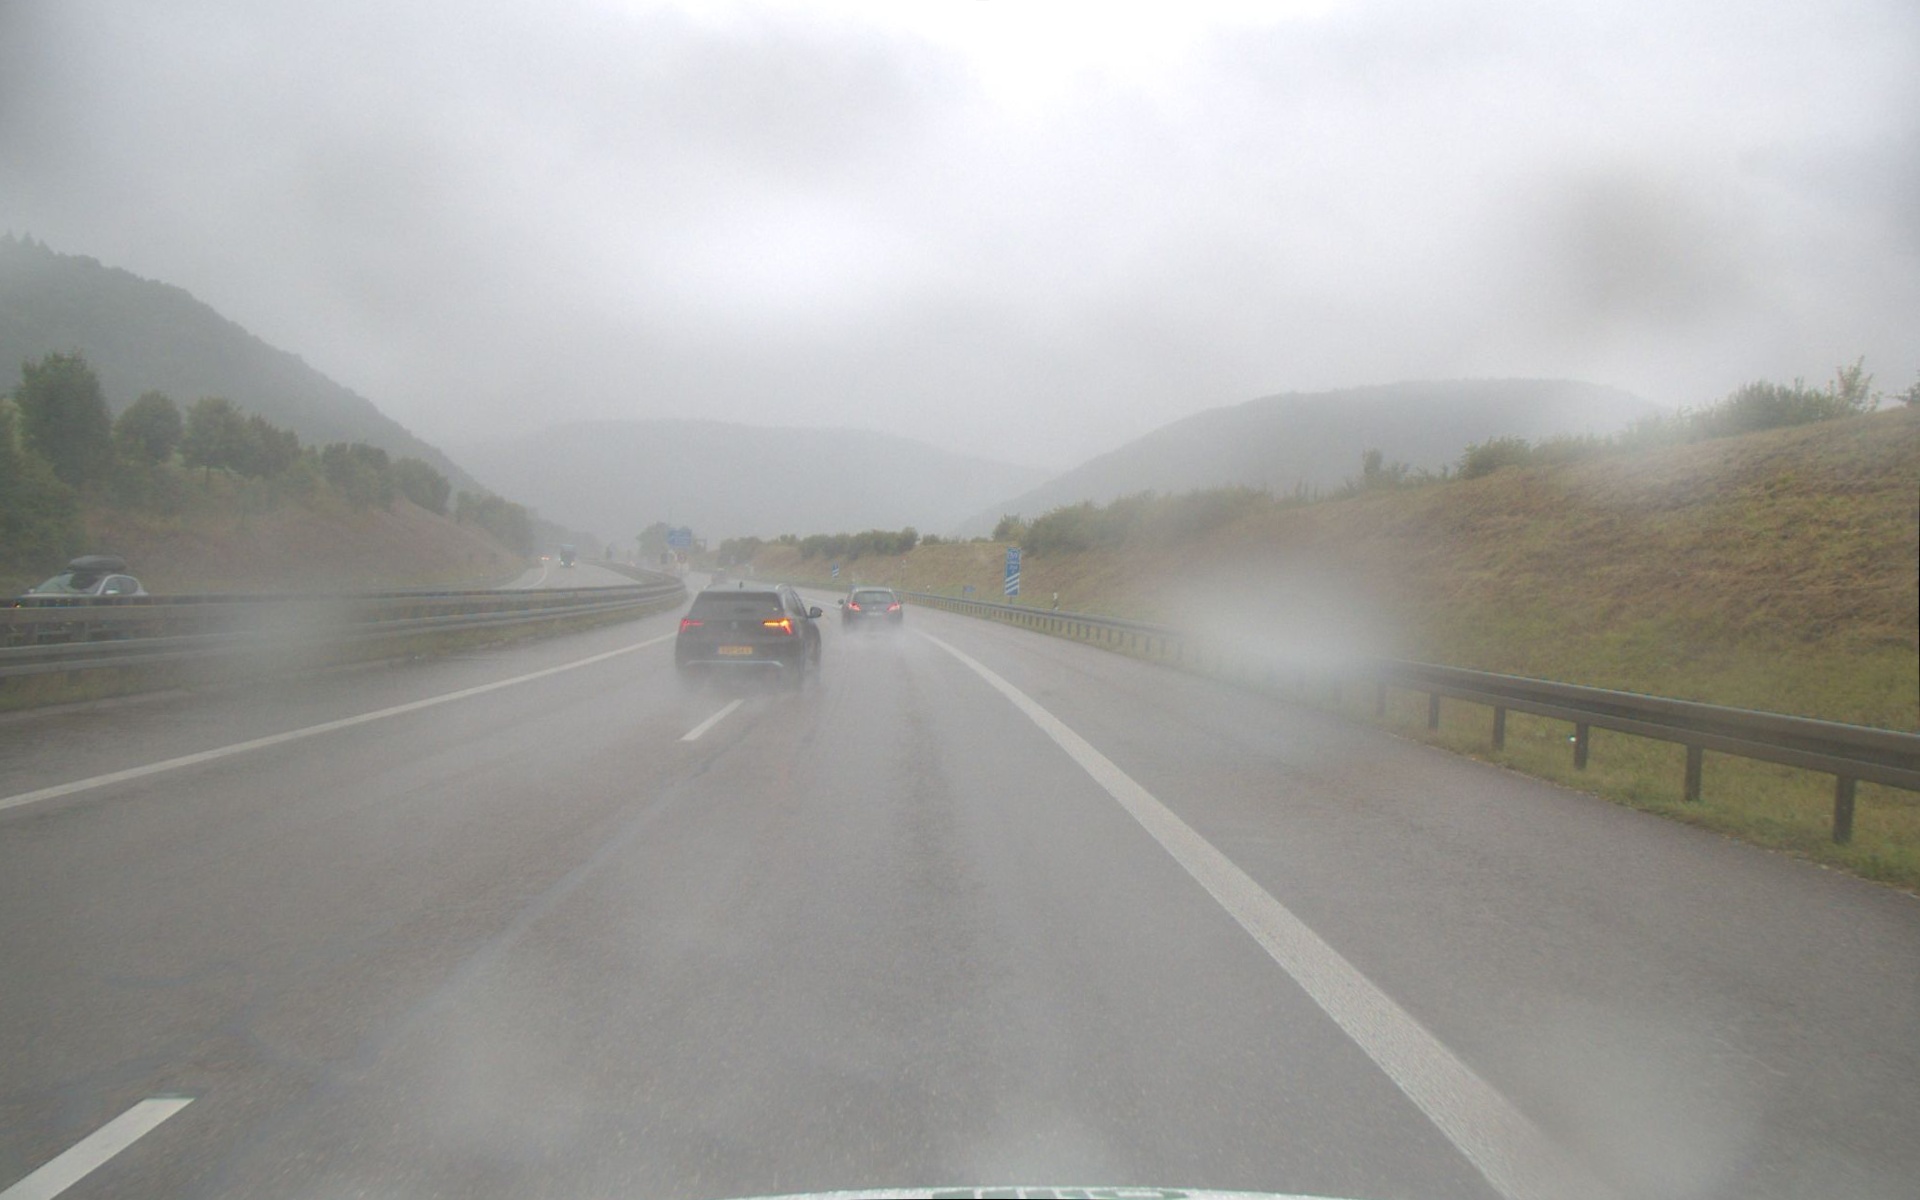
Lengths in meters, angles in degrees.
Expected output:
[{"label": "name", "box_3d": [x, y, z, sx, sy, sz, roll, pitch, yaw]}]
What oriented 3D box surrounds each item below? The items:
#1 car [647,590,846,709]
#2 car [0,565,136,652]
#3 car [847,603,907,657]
[{"label": "car", "box_3d": [-3.078, 0.690, 24.956, 2.357, 1.542, 4.783, 2, 0, 0]}, {"label": "car", "box_3d": [-19.707, 0.165, 35.556, 1.952, 1.764, 4.000, 0, 0, 0]}, {"label": "car", "box_3d": [-2.516, 0.879, 49.484, 1.646, 1.498, 3.811, 2, 0, -4]}]
